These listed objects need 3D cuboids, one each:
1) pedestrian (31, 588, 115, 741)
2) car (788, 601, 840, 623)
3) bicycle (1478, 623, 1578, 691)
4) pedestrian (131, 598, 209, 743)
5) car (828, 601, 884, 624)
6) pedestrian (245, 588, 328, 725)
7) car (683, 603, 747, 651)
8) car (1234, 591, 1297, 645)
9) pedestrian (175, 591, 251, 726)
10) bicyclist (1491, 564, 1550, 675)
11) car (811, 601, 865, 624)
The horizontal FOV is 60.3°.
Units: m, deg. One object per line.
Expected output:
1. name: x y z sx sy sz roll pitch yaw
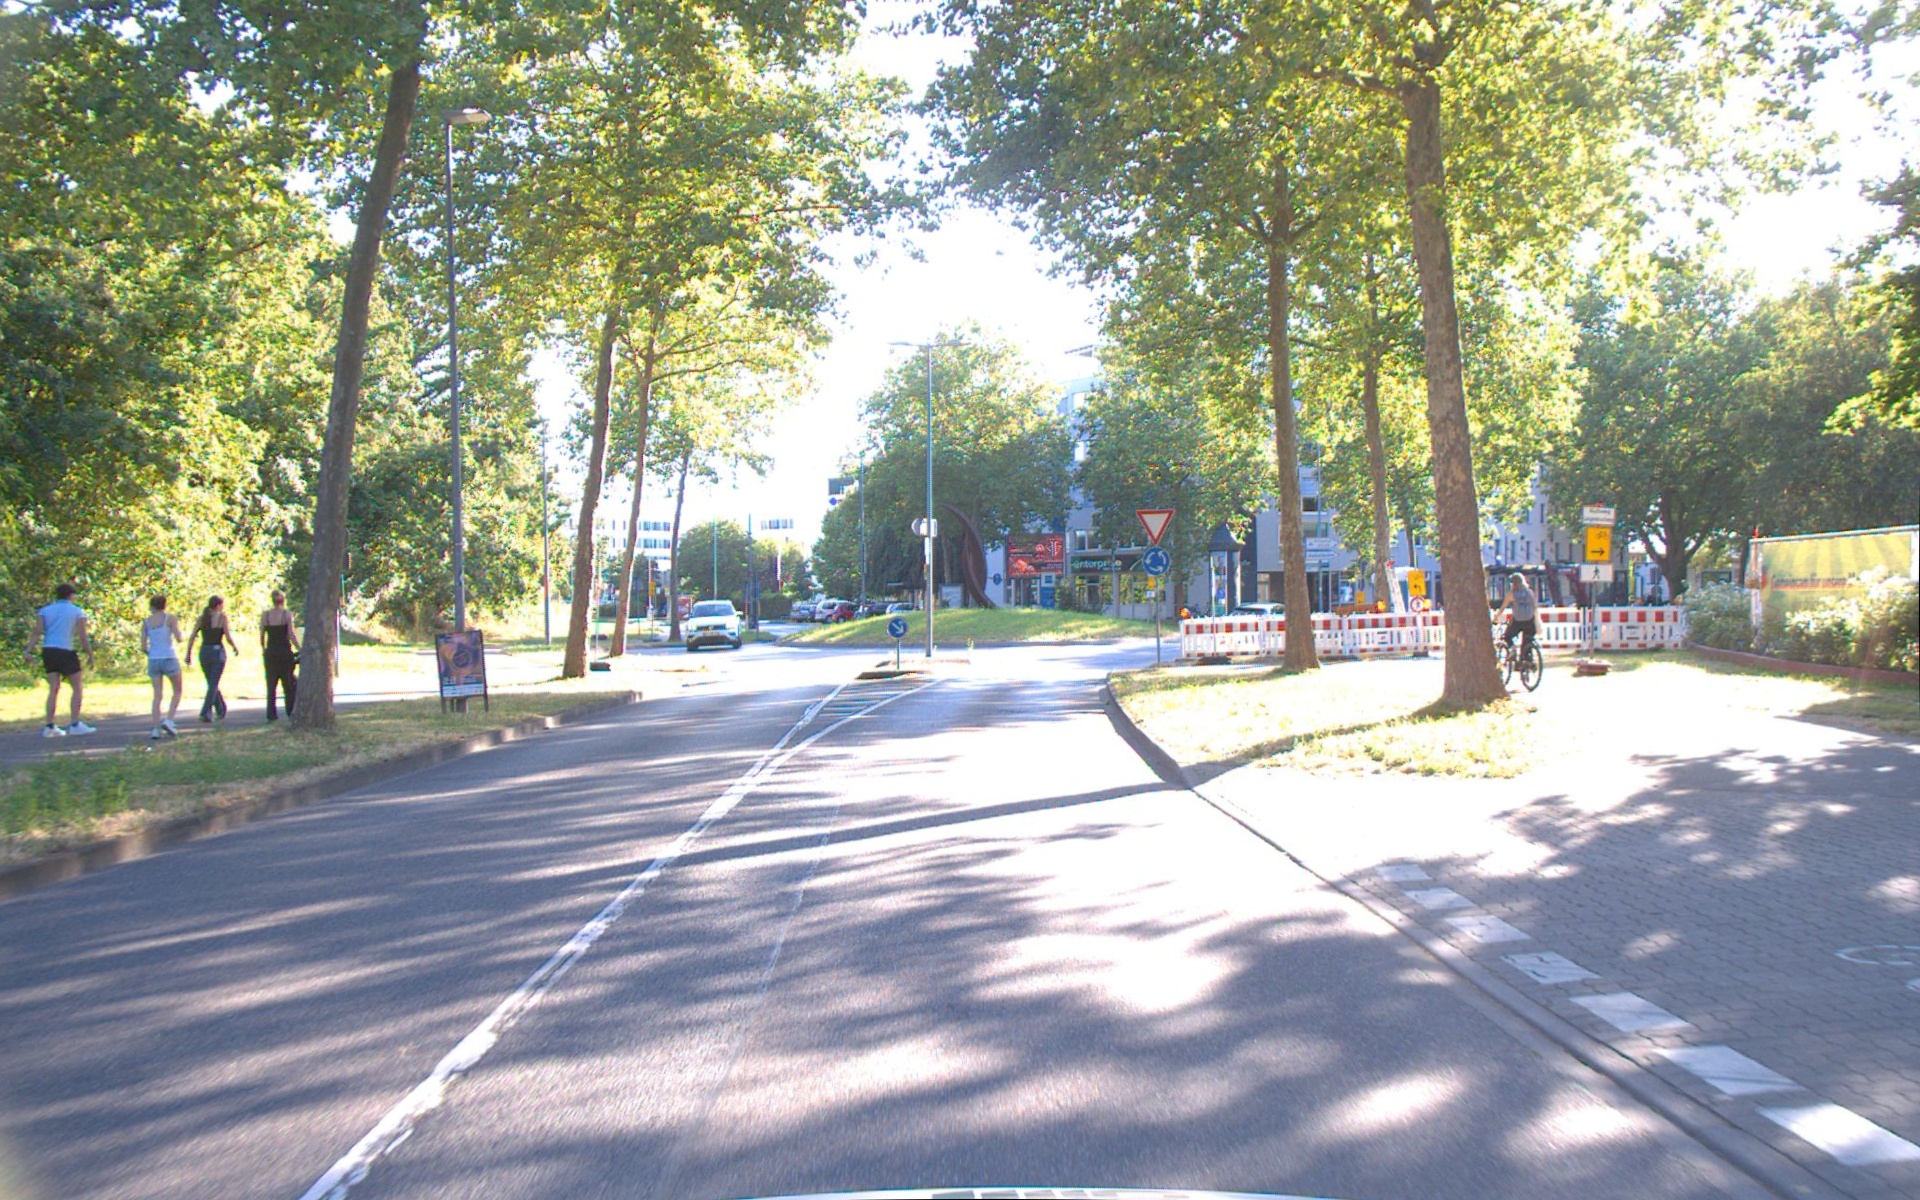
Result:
1. pedestrian: -10.462 0.754 19.520 0.619 1.769 0.664 -1 -1 0
2. car: -12.152 0.988 138.054 3.946 1.777 1.777 1 0 -31
3. bicycle: 8.916 0.876 26.069 0.754 0.981 2.173 -2 -1 -1
4. pedestrian: -9.264 0.813 19.410 0.619 1.666 0.576 -1 -1 0
5. car: -8.040 0.979 127.388 3.946 1.777 1.777 1 0 -31
6. pedestrian: -8.932 0.739 21.962 0.733 1.769 0.852 -1 0 1
7. car: -8.498 0.912 57.654 1.954 1.606 3.996 -1 0 -5
8. car: 9.811 0.573 52.927 1.800 1.633 3.866 -1 0 13
9. pedestrian: -9.950 0.769 22.047 0.652 1.769 0.751 -1 0 1
10. bicyclist: 8.904 0.306 26.300 0.637 1.735 0.871 1 0 -1
11. car: -9.579 0.978 129.948 3.946 1.777 1.777 1 0 -31
